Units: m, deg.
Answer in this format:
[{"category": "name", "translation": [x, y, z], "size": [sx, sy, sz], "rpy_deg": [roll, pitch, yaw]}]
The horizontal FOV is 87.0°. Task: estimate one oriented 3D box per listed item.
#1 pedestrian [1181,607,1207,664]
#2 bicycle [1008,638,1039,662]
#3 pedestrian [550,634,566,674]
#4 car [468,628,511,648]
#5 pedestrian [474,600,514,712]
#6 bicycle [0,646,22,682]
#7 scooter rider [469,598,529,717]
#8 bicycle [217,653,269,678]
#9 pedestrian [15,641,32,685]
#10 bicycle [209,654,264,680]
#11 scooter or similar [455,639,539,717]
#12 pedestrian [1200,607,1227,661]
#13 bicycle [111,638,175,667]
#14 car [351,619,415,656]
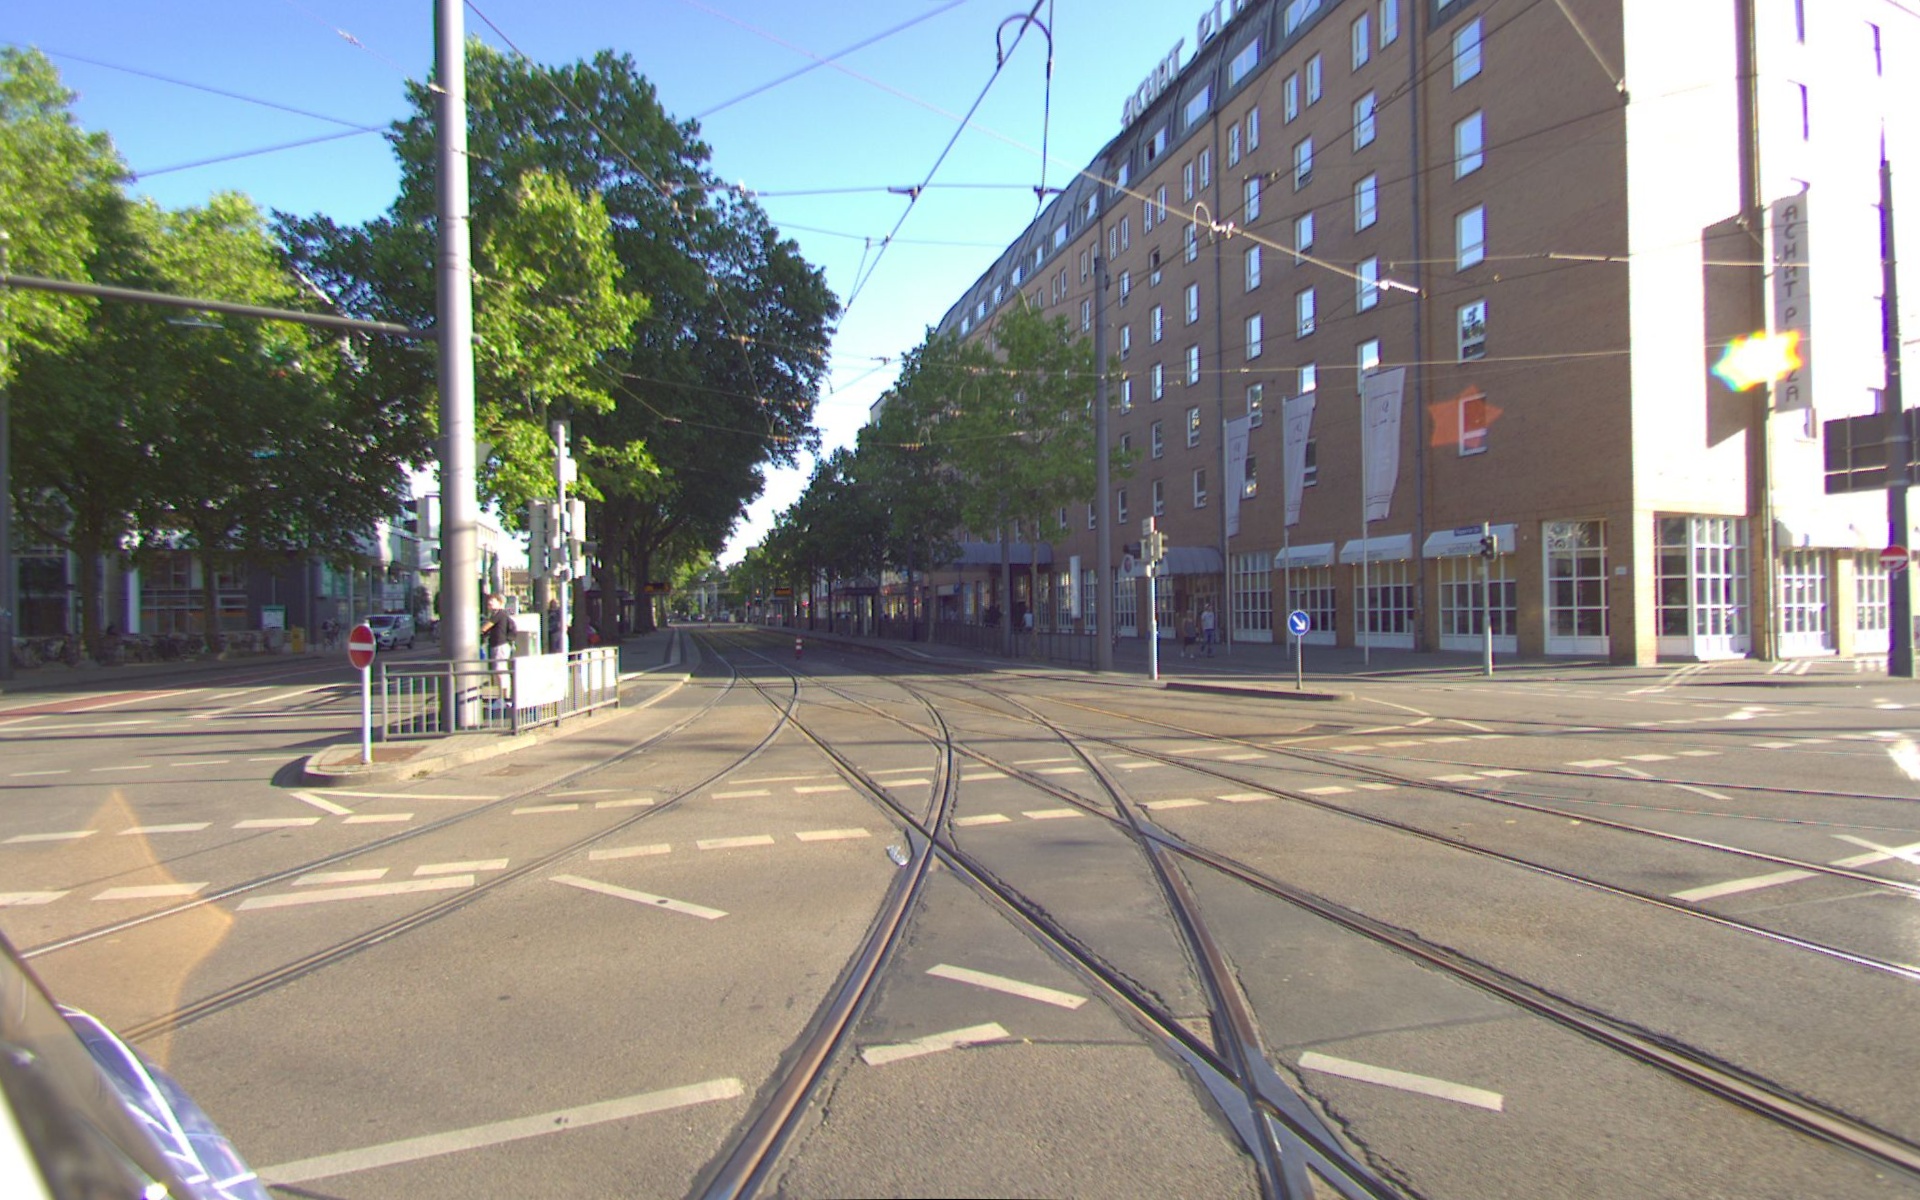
[{"category": "pedestrian", "translation": [7.907, 1.202, 34.183], "size": [0.638, 1.910, 0.746], "rpy_deg": [-1, -2, -4]}, {"category": "bicycle", "translation": [2.849, 2.246, 45.858], "size": [0.603, 1.026, 2.161], "rpy_deg": [0, -2, -19]}, {"category": "pedestrian", "translation": [-10.715, 1.432, 26.972], "size": [0.399, 1.040, 0.380], "rpy_deg": [0, -2, -22]}, {"category": "car", "translation": [-35.116, 2.807, 75.637], "size": [1.666, 1.439, 4.005], "rpy_deg": [-1, -1, -5]}, {"category": "pedestrian", "translation": [-7.745, 0.915, 16.853], "size": [0.560, 1.810, 0.675], "rpy_deg": [0, -2, -21]}, {"category": "bicycle", "translation": [-28.756, 1.905, 29.956], "size": [0.569, 1.072, 1.952], "rpy_deg": [-1, -2, -14]}, {"category": "scooter rider", "translation": [-7.323, 0.902, 16.087], "size": [0.751, 1.847, 0.590], "rpy_deg": [-1, -2, -10]}, {"category": "bicycle", "translation": [-33.592, 3.069, 47.425], "size": [1.913, 1.072, 0.580], "rpy_deg": [0, -2, -23]}, {"category": "pedestrian", "translation": [-34.066, 2.289, 36.813], "size": [0.448, 1.567, 0.404], "rpy_deg": [-3, -2, 45]}, {"category": "bicycle", "translation": [-32.459, 2.988, 45.413], "size": [1.913, 1.072, 0.580], "rpy_deg": [0, -2, -23]}, {"category": "scooter or similar", "translation": [-7.354, 1.232, 16.098], "size": [1.141, 1.188, 0.456], "rpy_deg": [-1, -2, -10]}, {"category": "pedestrian", "translation": [8.531, 1.141, 34.029], "size": [0.638, 1.756, 0.705], "rpy_deg": [-1, -2, -4]}, {"category": "bicycle", "translation": [-32.904, 2.106, 40.765], "size": [1.913, 1.072, 0.580], "rpy_deg": [0, -2, -23]}, {"category": "car", "translation": [-32.824, 2.113, 57.698], "size": [1.939, 1.960, 4.979], "rpy_deg": [-1, -1, -15]}]
